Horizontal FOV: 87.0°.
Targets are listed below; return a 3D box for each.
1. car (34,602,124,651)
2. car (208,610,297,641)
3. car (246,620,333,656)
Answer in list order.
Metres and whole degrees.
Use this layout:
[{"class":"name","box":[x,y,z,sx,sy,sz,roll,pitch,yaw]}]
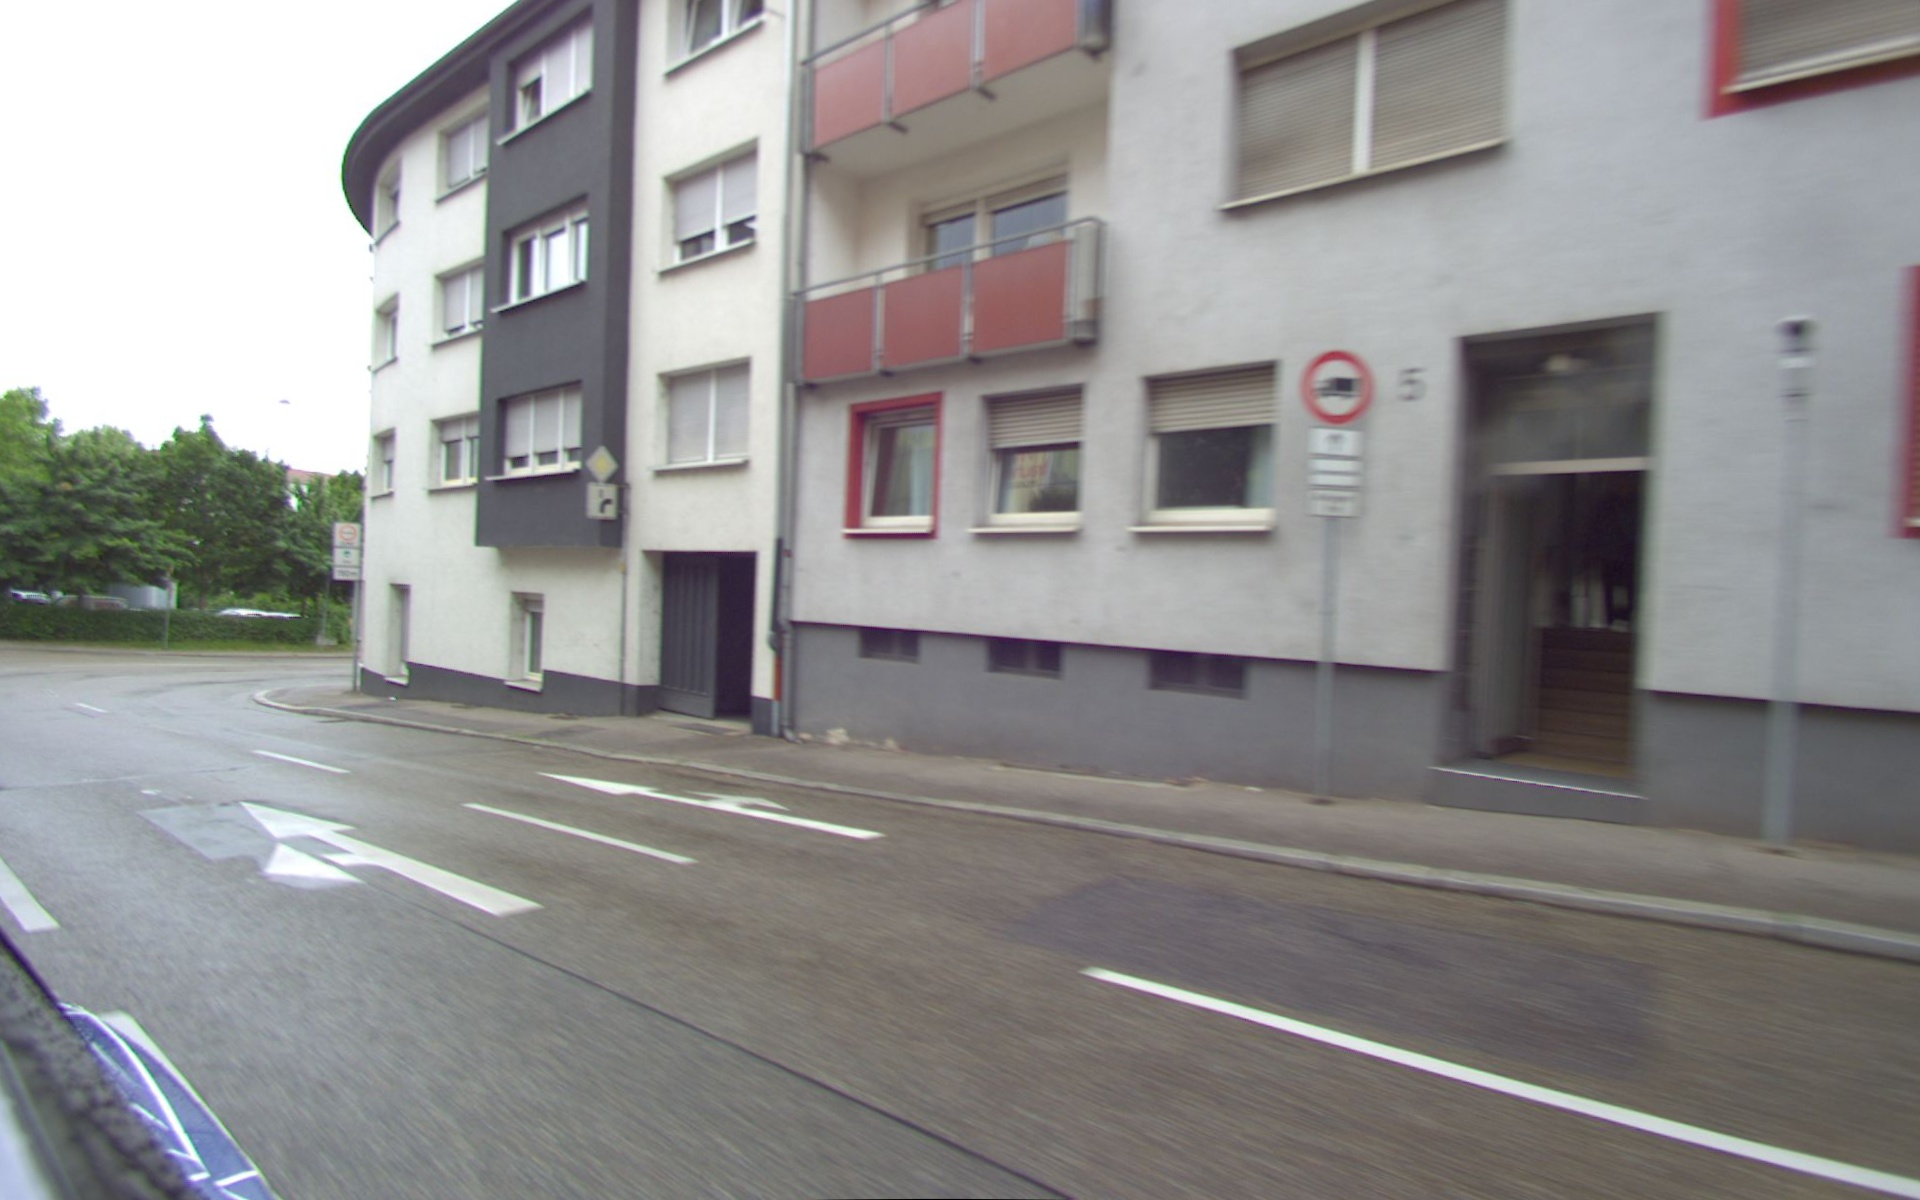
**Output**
[{"class":"car","box":[-39.837,1.177,45.758,4.194,1.975,1.621,2,-4,29]},{"class":"car","box":[-42.317,1.526,60.596,1.787,1.522,3.973,2,-4,20]},{"class":"car","box":[-36.365,2.068,54.907,4.179,1.634,1.627,2,-4,19]}]
